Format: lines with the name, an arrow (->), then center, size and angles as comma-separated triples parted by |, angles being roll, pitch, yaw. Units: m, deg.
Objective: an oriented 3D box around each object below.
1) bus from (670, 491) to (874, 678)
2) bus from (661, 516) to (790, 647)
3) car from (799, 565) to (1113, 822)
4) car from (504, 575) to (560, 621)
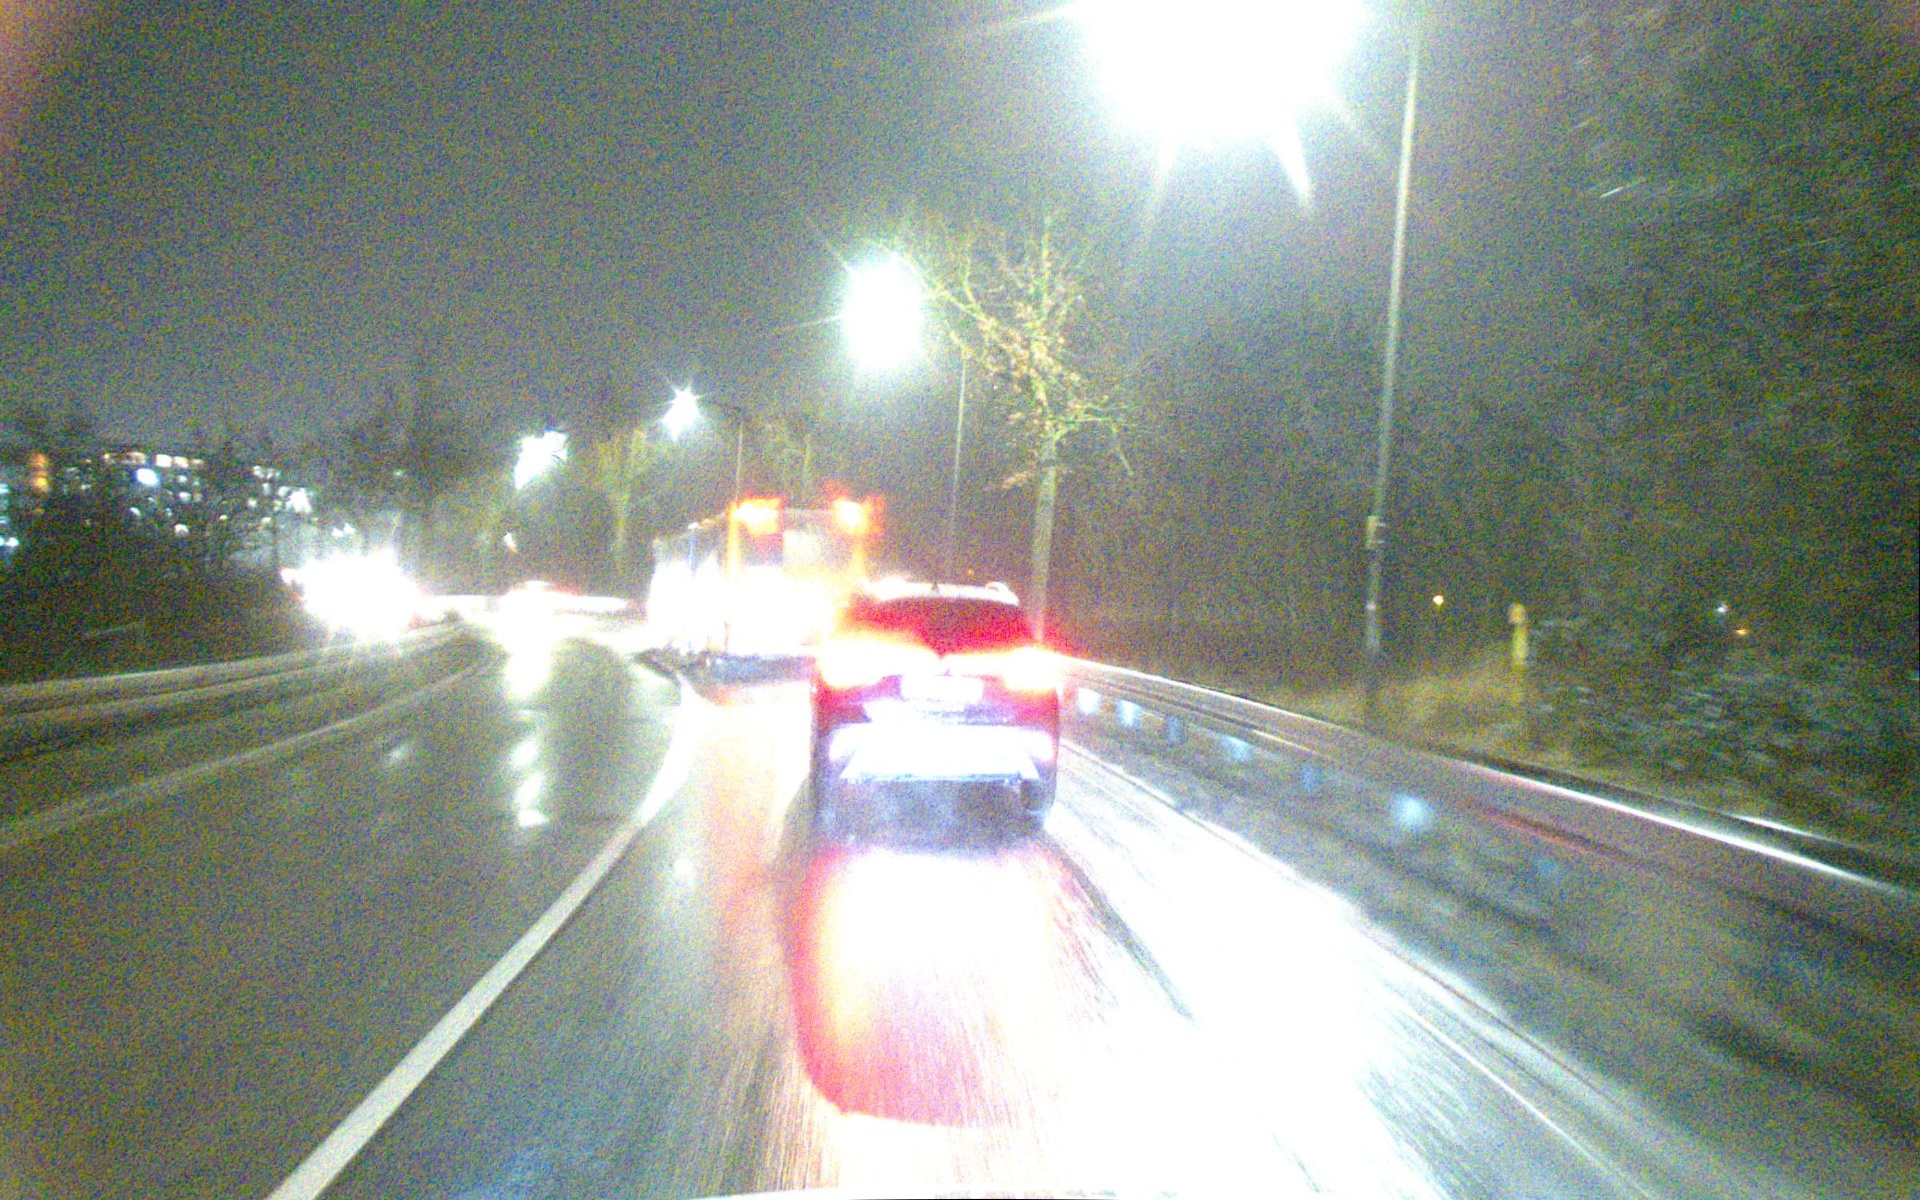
bus -> -4.312, -0.328, 34.727 | 3.029, 3.187, 12.658 | 0, 1, -12
bus -> -6.492, -0.592, 44.812 | 2.994, 3.186, 8.057 | 0, 2, -11
car -> -0.204, 0.591, 12.542 | 1.821, 1.614, 3.993 | 1, 0, -8
car -> -18.368, -0.118, 70.904 | 1.616, 1.684, 3.681 | -2, 4, -26
